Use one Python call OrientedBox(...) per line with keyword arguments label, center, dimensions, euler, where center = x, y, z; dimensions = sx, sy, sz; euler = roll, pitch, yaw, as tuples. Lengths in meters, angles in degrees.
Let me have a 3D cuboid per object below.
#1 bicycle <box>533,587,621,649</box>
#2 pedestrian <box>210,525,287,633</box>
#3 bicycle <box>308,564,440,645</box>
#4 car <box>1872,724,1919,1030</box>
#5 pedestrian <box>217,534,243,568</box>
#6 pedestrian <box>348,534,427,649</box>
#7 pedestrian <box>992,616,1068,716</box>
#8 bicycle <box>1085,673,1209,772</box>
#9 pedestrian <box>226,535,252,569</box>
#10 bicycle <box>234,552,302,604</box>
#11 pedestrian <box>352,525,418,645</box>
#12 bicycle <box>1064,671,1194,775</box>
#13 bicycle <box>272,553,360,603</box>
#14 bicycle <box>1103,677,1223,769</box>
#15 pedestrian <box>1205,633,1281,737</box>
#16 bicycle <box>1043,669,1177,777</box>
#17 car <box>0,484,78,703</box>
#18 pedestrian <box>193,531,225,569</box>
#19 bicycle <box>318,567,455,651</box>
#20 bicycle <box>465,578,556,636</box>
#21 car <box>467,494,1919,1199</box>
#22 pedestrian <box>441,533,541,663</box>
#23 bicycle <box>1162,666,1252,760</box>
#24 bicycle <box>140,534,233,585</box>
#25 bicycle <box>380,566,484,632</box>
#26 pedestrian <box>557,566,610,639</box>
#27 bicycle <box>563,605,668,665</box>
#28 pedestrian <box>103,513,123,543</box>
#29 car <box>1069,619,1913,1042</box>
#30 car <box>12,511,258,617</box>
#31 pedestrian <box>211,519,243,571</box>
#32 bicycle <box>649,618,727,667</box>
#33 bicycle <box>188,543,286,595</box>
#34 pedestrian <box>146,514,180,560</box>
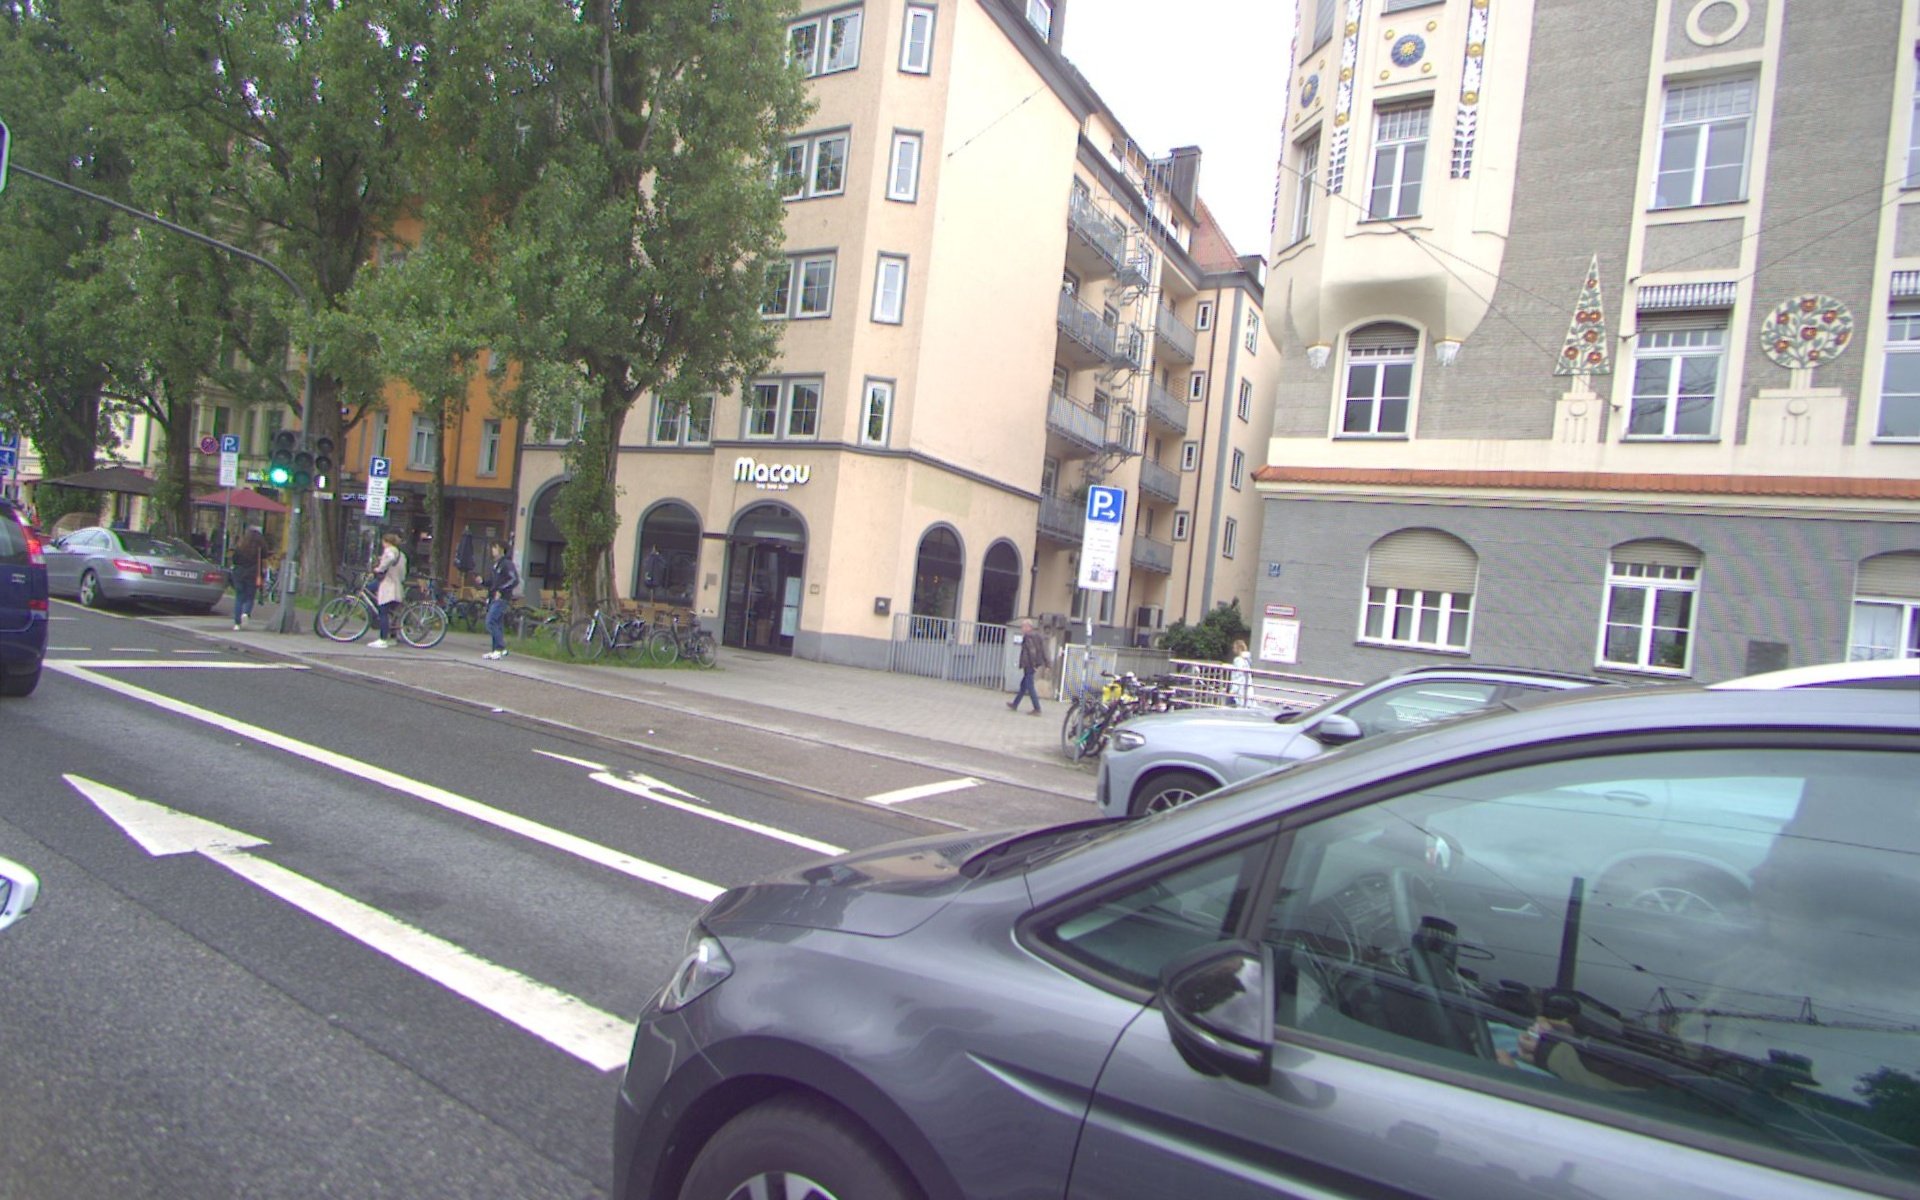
OrientedBox(label="bicycle", center=(-7.383, 0.368, 19.470), dimensions=(0.386, 1.063, 1.574), euler=(6, -1, 32))
OrientedBox(label="pedestrian", center=(-11.163, -0.332, 15.804), dimensions=(0.753, 1.582, 0.757), euler=(7, 1, -27))
OrientedBox(label="bicycle", center=(-9.356, 0.081, 16.122), dimensions=(1.722, 1.116, 0.357), euler=(6, 1, -24))
OrientedBox(label="car", center=(6.939, 1.692, 4.465), dimensions=(3.902, 1.596, 1.727), euler=(6, 0, 33))
OrientedBox(label="pedestrian", center=(-29.716, -1.998, 40.944), dimensions=(0.573, 1.296, 0.583), euler=(6, 1, 31))
OrientedBox(label="pedestrian", center=(-8.817, -0.132, 15.529), dimensions=(0.690, 1.658, 0.754), euler=(7, 1, -12))
OrientedBox(label="pedestrian", center=(1.292, 1.205, 18.563), dimensions=(1.000, 1.706, 0.746), euler=(6, 1, 32))
OrientedBox(label="bicycle", center=(2.434, 1.592, 13.310), dimensions=(0.388, 1.035, 1.824), euler=(6, -1, -31))
OrientedBox(label="pedestrian", center=(-29.028, -1.924, 40.495), dimensions=(0.573, 1.296, 0.583), euler=(6, 1, 31))
OrientedBox(label="bicycle", center=(-15.450, -0.492, 22.442), dimensions=(1.626, 0.977, 0.589), euler=(6, 0, 32))
OrientedBox(label="pedestrian", center=(-9.194, -0.239, 16.112), dimensions=(0.692, 1.802, 0.647), euler=(7, 1, -25))
OrientedBox(label="bicycle", center=(2.099, 1.523, 12.728), dimensions=(0.441, 1.035, 1.824), euler=(6, -1, -31))
OrientedBox(label="bicycle", center=(-16.940, -0.561, 26.518), dimensions=(0.450, 1.127, 1.891), euler=(6, 0, 29))
OrientedBox(label="bicycle", center=(2.745, 1.654, 13.801), dimensions=(0.388, 0.990, 1.824), euler=(6, -1, -31))
OrientedBox(label="pedestrian", center=(5.184, 1.541, 18.408), dimensions=(1.000, 1.735, 0.746), euler=(6, 1, 32))
OrientedBox(label="bicycle", center=(1.777, 1.458, 12.187), dimensions=(0.441, 1.035, 1.824), euler=(6, -1, -31))
OrientedBox(label="car", center=(-8.764, -0.241, 7.924), dimensions=(3.497, 1.609, 1.705), euler=(6, 0, 32))
OrientedBox(label="pedestrian", center=(-26.450, -1.750, 35.432), dimensions=(0.655, 1.237, 0.601), euler=(6, 1, 32))
OrientedBox(label="bicycle", center=(-8.824, 0.142, 15.528), dimensions=(1.717, 1.116, 0.358), euler=(6, 1, -13))
OrientedBox(label="bicycle", center=(-9.935, 0.178, 22.287), dimensions=(0.440, 1.123, 1.799), euler=(7, -1, 33))
OrientedBox(label="car", center=(1.422, 0.877, 1.623), dimensions=(4.631, 1.668, 1.772), euler=(6, 1, 33))
OrientedBox(label="pedestrian", center=(-7.133, -0.025, 15.326), dimensions=(0.743, 1.821, 0.882), euler=(7, -2, 31))
OrientedBox(label="bicycle", center=(3.665, 1.646, 15.068), dimensions=(0.457, 1.168, 1.884), euler=(6, -1, -10))
OrientedBox(label="bicycle", center=(-21.371, -1.104, 27.838), dimensions=(0.573, 1.188, 1.889), euler=(6, 0, 33))
OrientedBox(label="bicycle", center=(-10.855, -0.008, 20.726), dimensions=(0.440, 1.122, 1.800), euler=(7, -2, 33))
OrientedBox(label="pedestrian", center=(-8.987, 0.059, 23.992), dimensions=(0.842, 1.622, 0.814), euler=(6, 1, -37))
OrientedBox(label="bicycle", center=(-6.083, 0.640, 17.870), dimensions=(0.386, 0.928, 1.836), euler=(6, -2, 33))
OrientedBox(label="pedestrian", center=(-39.816, -3.372, 47.280), dimensions=(0.543, 1.349, 0.495), euler=(6, 1, 32))
OrientedBox(label="car", center=(3.195, 1.215, 6.909), dimensions=(4.426, 1.682, 1.734), euler=(6, 2, 31))
OrientedBox(label="car", center=(-15.209, -0.677, 18.507), dimensions=(4.452, 1.459, 1.996), euler=(6, 1, 30))
OrientedBox(label="pedestrian", center=(-26.201, -1.972, 35.974), dimensions=(0.655, 1.761, 0.601), euler=(6, 1, 32))
OrientedBox(label="bicycle", center=(-5.232, 0.831, 19.426), dimensions=(0.385, 0.845, 1.575), euler=(6, -2, 29))
OrientedBox(label="bicycle", center=(-17.860, -0.750, 24.896), dimensions=(0.450, 1.067, 1.891), euler=(6, 0, 29))
OrientedBox(label="pedestrian", center=(-30.713, -2.434, 38.755), dimensions=(0.773, 1.653, 0.711), euler=(6, 1, 32))
